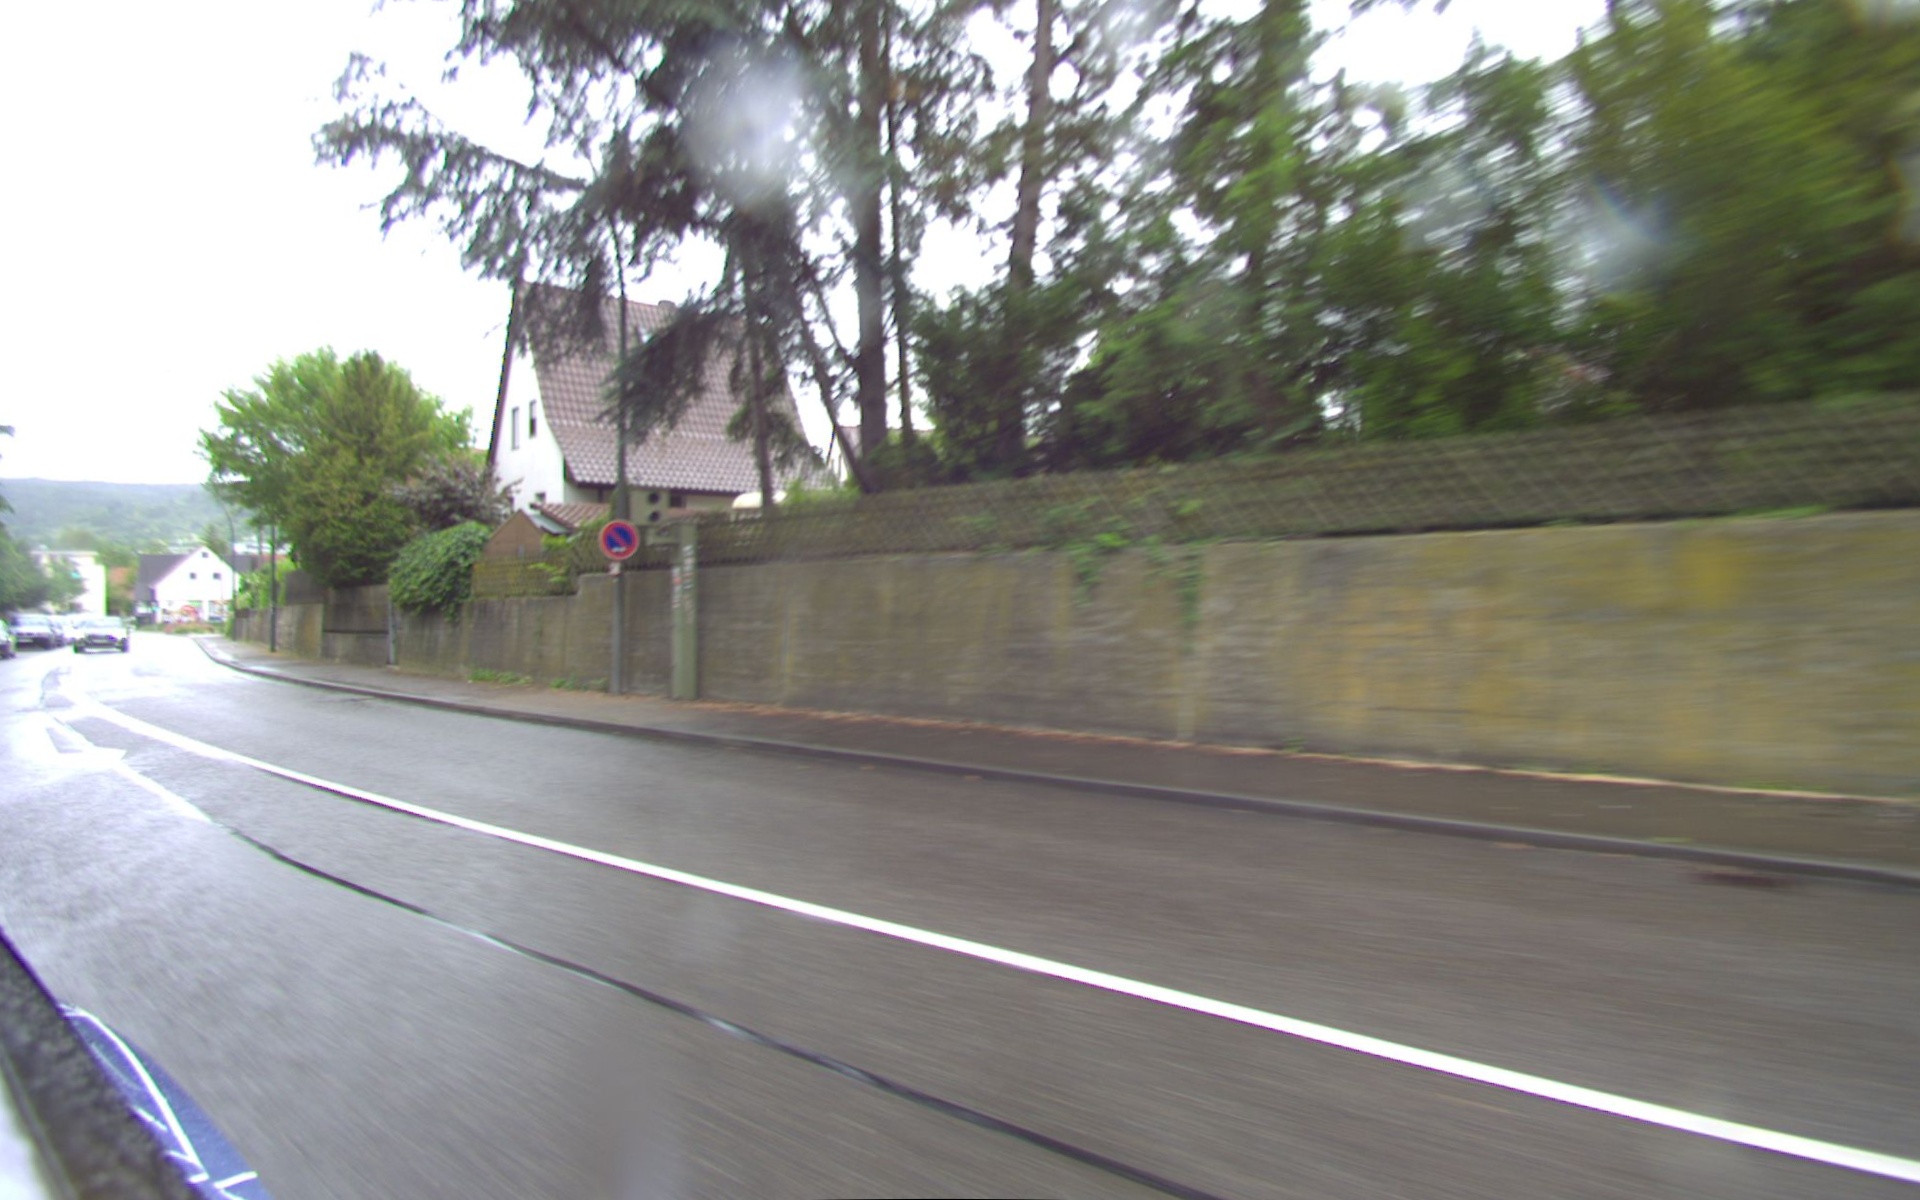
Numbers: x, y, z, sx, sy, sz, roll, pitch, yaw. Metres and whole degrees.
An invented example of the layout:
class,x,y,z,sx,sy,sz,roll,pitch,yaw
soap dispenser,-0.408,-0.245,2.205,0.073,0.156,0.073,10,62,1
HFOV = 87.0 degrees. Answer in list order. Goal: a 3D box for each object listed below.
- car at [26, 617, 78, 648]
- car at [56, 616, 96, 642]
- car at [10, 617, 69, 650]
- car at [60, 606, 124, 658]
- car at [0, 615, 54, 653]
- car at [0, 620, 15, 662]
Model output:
class,x,y,z,sx,sy,sz,roll,pitch,yaw
car,-50.669,1.779,56.549,1.805,1.642,4.162,1,-2,-37
car,-64.318,2.088,73.685,1.919,1.807,4.195,1,-1,-38
car,-46.799,1.675,51.521,1.805,1.642,4.162,1,-2,-37
car,-37.260,1.313,43.504,1.969,2.029,4.007,-1,1,-40
car,-42.914,1.542,46.419,1.805,1.642,4.161,1,-2,-39
car,-34.409,1.409,35.379,1.737,1.430,4.160,1,-2,-40
